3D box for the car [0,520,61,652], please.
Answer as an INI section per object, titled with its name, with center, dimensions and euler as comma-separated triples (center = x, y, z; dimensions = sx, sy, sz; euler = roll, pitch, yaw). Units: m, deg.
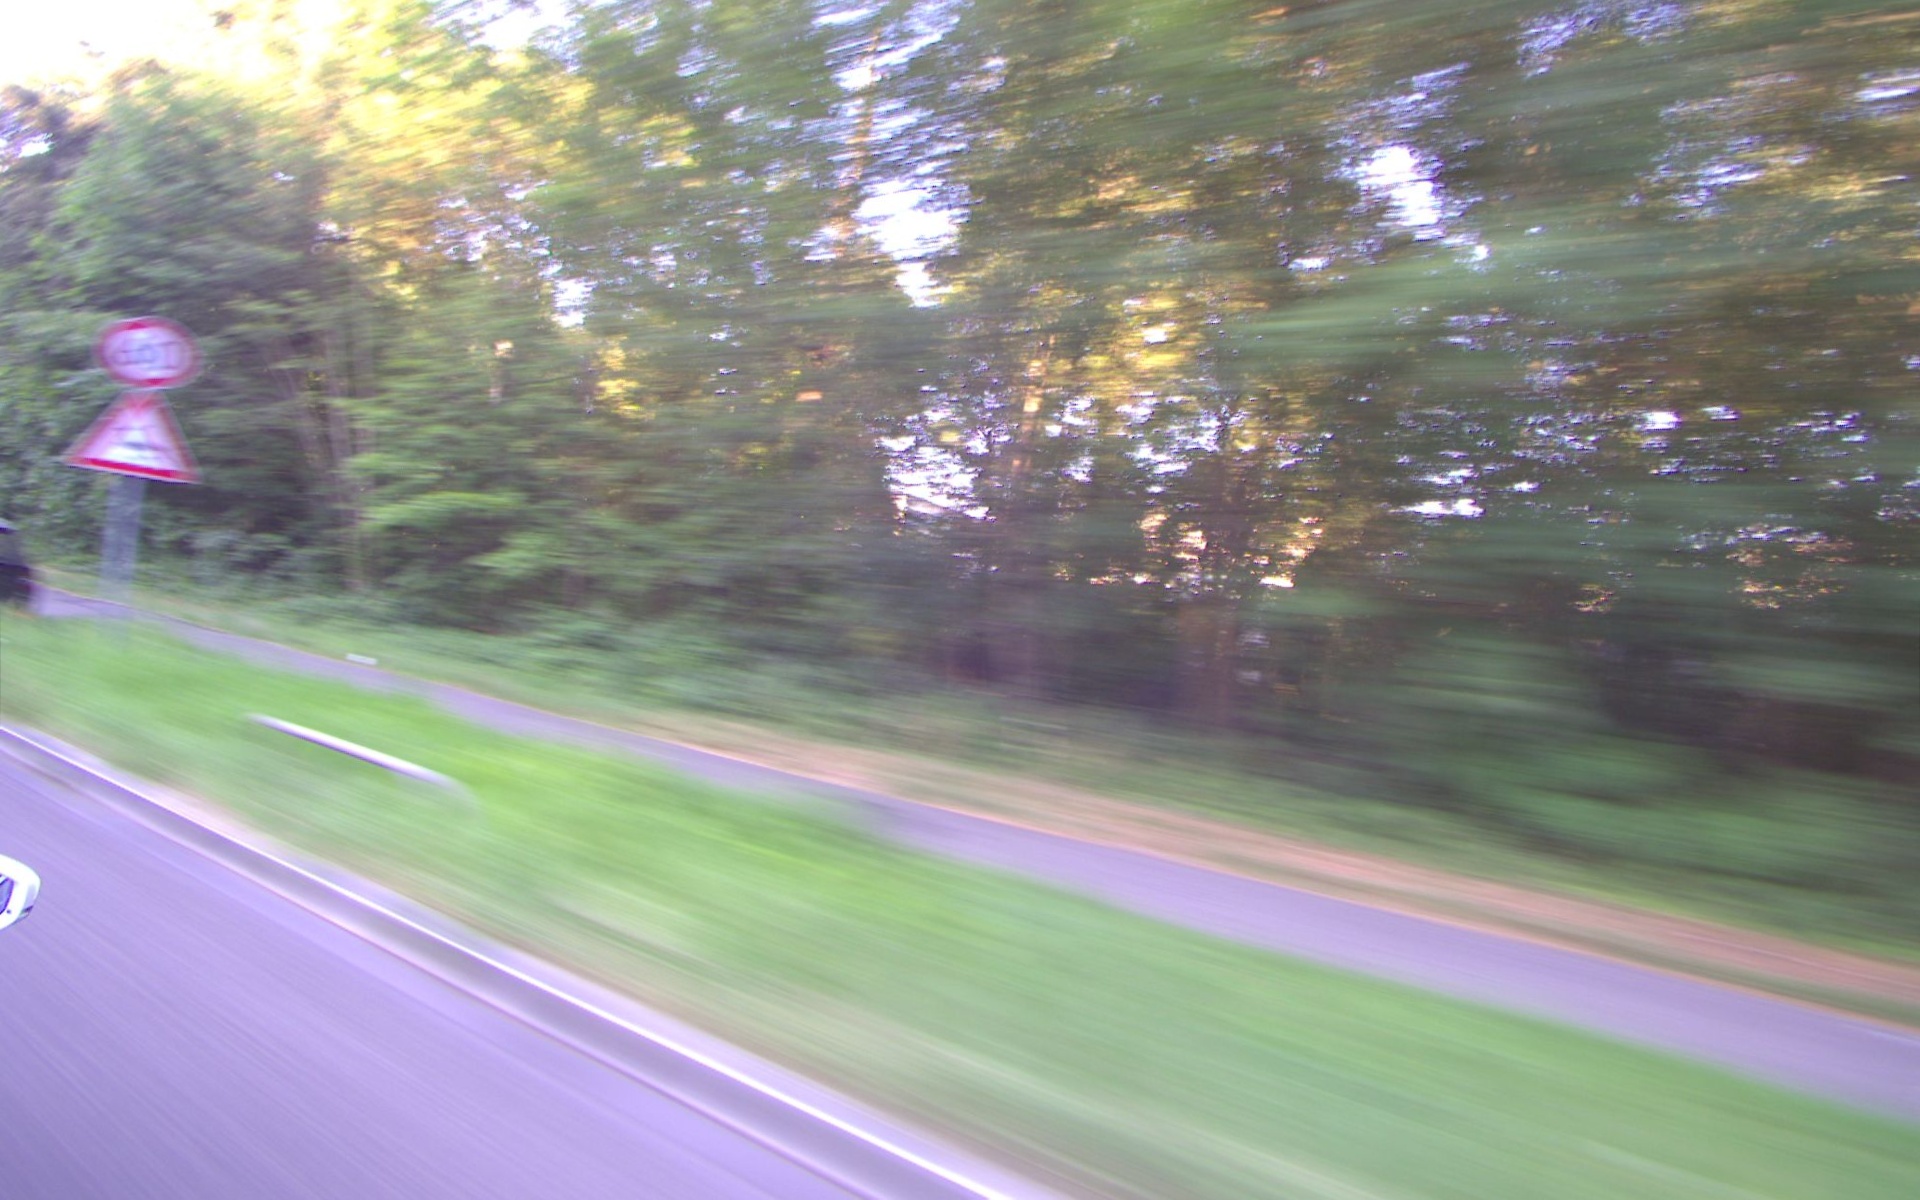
[car]
center = -12.484, -0.384, 11.945
dimensions = 3.879, 1.420, 1.667
euler = 6, -4, 34
